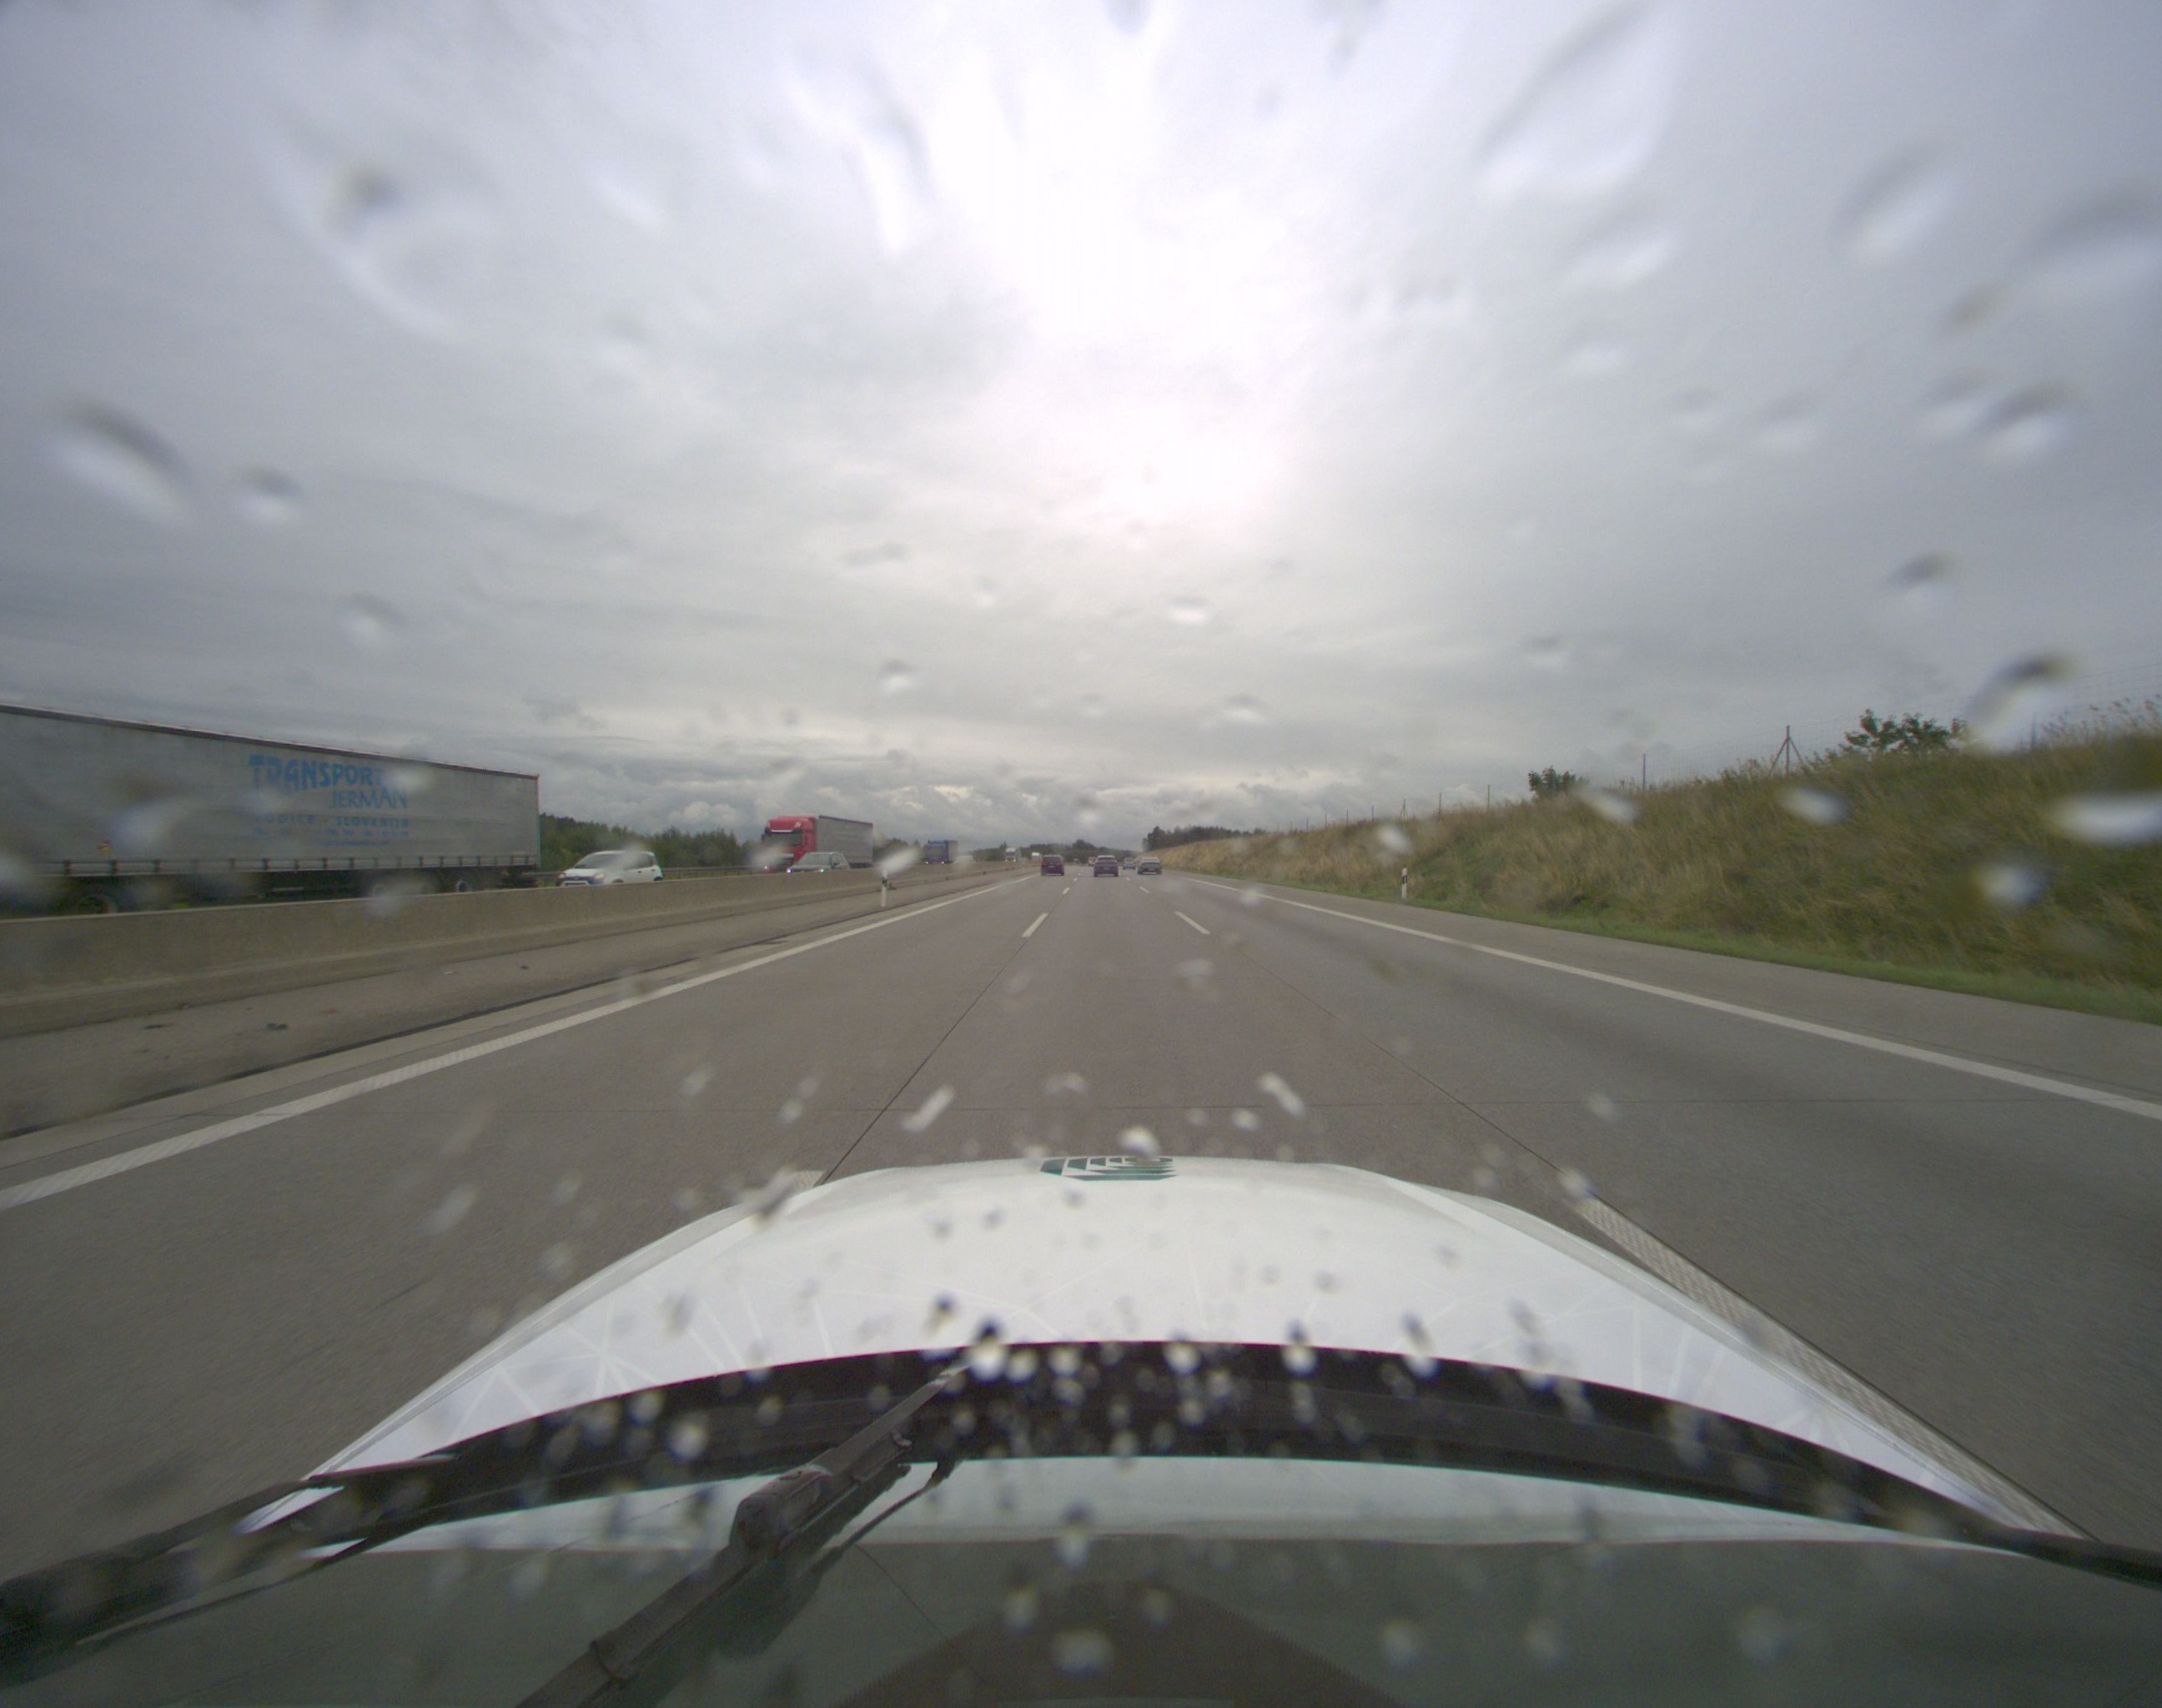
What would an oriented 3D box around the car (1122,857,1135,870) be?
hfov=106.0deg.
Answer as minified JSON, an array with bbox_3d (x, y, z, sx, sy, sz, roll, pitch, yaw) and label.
[{"bbox_3d":[5.913,1.144,101.274,1.480,1.470,3.504,2,0,1],"label":"car"}]

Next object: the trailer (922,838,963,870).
[{"bbox_3d":[-17.545,-0.022,104.249,2.839,3.837,12.402,0,0,1],"label":"trailer"}]

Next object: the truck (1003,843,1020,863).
[{"bbox_3d":[-17.028,-0.158,200.252,3.576,4.819,5.868,0,0,0],"label":"truck"}]

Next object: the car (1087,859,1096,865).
[{"bbox_3d":[2.332,1.692,179.225,1.789,1.221,4.005,0,0,4],"label":"car"}]

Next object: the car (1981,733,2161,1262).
[{"bbox_3d":[4.114,0.438,0.673,1.778,1.605,4.572,0,0,1],"label":"car"}]

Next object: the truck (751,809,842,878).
[{"bbox_3d":[-18.371,-0.660,53.173,3.457,4.182,6.496,0,0,2],"label":"truck"}]

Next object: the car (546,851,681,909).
[{"bbox_3d":[-14.427,0.738,25.418,1.608,1.651,4.297,0,0,2],"label":"car"}]

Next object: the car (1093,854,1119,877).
[{"bbox_3d":[1.973,0.834,62.681,1.890,1.690,5.269,0,0,2],"label":"car"}]

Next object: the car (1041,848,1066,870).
[{"bbox_3d":[-2.239,0.428,67.219,1.778,1.747,3.918,0,0,3],"label":"car"}]

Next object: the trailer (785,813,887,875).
[{"bbox_3d":[-18.123,-0.706,61.613,3.470,4.201,12.933,0,0,2],"label":"trailer"}]

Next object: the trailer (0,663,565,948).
[{"bbox_3d":[-18.705,-0.814,20.060,2.905,4.625,13.642,0,0,2],"label":"trailer"}]

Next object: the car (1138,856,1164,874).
[{"bbox_3d":[5.924,0.882,69.329,2.006,1.446,4.748,0,0,3],"label":"car"}]

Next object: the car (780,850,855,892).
[{"bbox_3d":[-11.123,0.673,34.665,1.707,1.679,4.182,0,0,1],"label":"car"}]

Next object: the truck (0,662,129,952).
[{"bbox_3d":[-18.916,-0.743,12.259,2.917,4.676,5.234,0,0,1],"label":"truck"}]
